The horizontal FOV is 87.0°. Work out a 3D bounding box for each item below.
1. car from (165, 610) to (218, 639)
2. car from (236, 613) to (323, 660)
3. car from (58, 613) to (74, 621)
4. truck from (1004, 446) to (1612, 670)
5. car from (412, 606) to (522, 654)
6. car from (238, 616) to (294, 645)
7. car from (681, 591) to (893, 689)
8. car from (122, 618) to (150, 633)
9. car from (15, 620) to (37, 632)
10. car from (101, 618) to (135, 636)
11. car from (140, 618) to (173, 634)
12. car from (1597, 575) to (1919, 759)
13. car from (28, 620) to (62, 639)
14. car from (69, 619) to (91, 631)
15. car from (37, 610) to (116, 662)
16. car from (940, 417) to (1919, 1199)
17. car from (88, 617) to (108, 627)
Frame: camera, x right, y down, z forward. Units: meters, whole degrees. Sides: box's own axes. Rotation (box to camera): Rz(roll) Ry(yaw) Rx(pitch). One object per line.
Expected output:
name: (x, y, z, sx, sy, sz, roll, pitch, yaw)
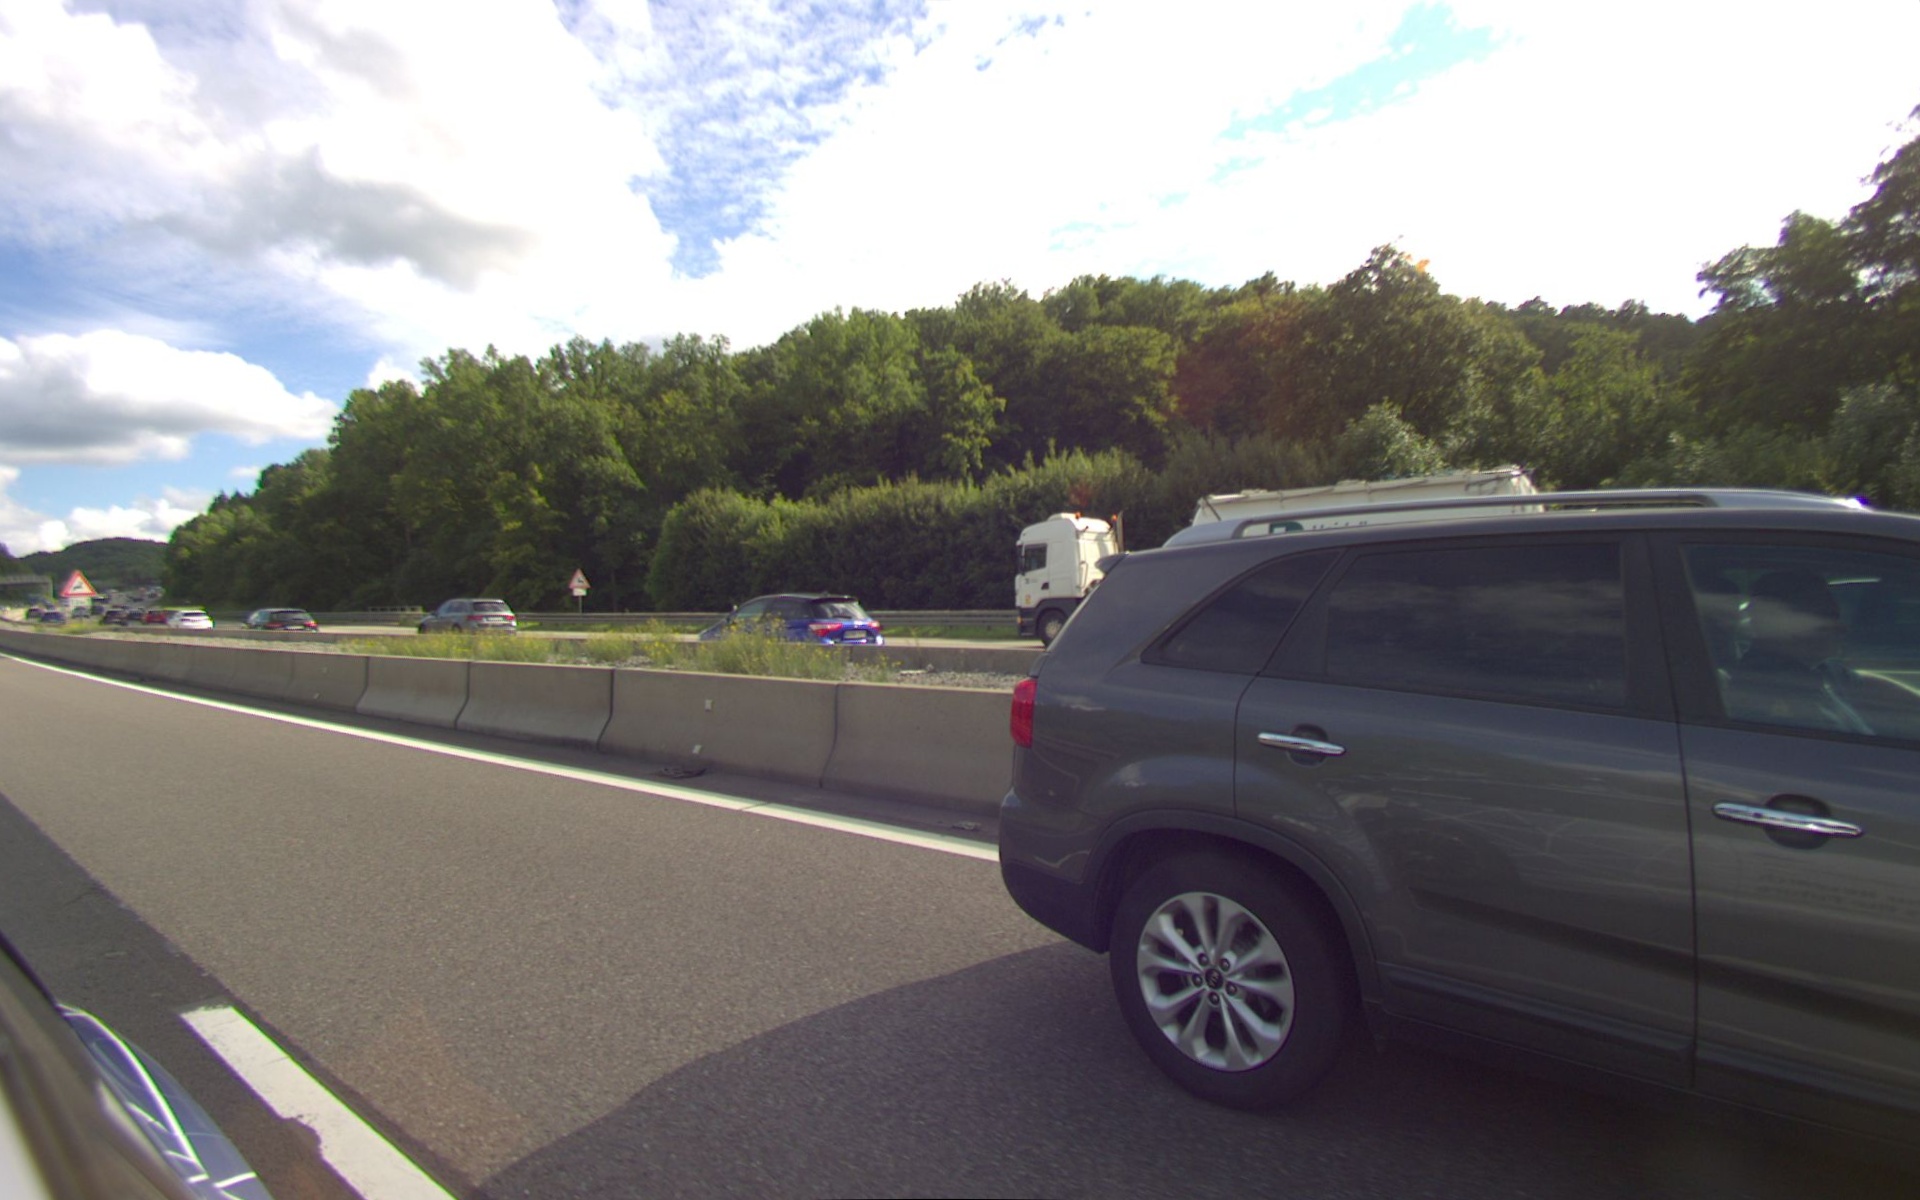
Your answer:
car: (-49.595, 1.561, 65.258, 4.000, 1.767, 2.076, -1, 0, 43)
car: (-24.182, 1.271, 35.908, 4.062, 1.509, 1.581, -1, 0, 41)
car: (-170.971, 3.210, 193.560, 3.998, 1.517, 1.787, -1, 0, 41)
truck: (7.482, -0.723, 24.565, 13.673, 4.158, 3.414, -1, 0, 41)
car: (-17.071, 1.019, 34.947, 4.545, 1.542, 1.814, -1, 0, 41)
car: (-33.982, 1.481, 49.508, 3.301, 1.351, 1.468, -1, 0, 41)
car: (-3.130, 0.667, 17.909, 3.840, 1.542, 1.582, -1, 0, 40)
car: (-92.313, 2.858, 113.364, 3.998, 1.517, 1.787, -1, 0, 41)
car: (-126.144, 3.510, 136.663, 3.998, 1.517, 1.787, -1, 0, 41)
car: (-75.508, 2.450, 90.736, 3.998, 1.517, 1.787, -1, 0, 41)
car: (-77.181, 2.483, 97.160, 3.998, 1.517, 1.787, -1, 0, 41)
car: (8.387, 0.530, 8.850, 4.536, 1.489, 1.749, -1, 0, 41)
car: (-81.700, 2.623, 90.315, 3.998, 1.517, 1.787, -1, 0, 41)
car: (-125.962, 3.584, 144.814, 3.998, 1.517, 1.787, -1, 0, 41)
car: (-36.906, 1.482, 42.244, 3.998, 2.050, 1.973, -2, -1, 41)
car: (2.460, 0.526, 2.431, 5.185, 1.749, 1.798, -2, -1, 42)
car: (-139.328, 3.570, 163.556, 3.998, 1.517, 1.787, -1, 0, 41)
